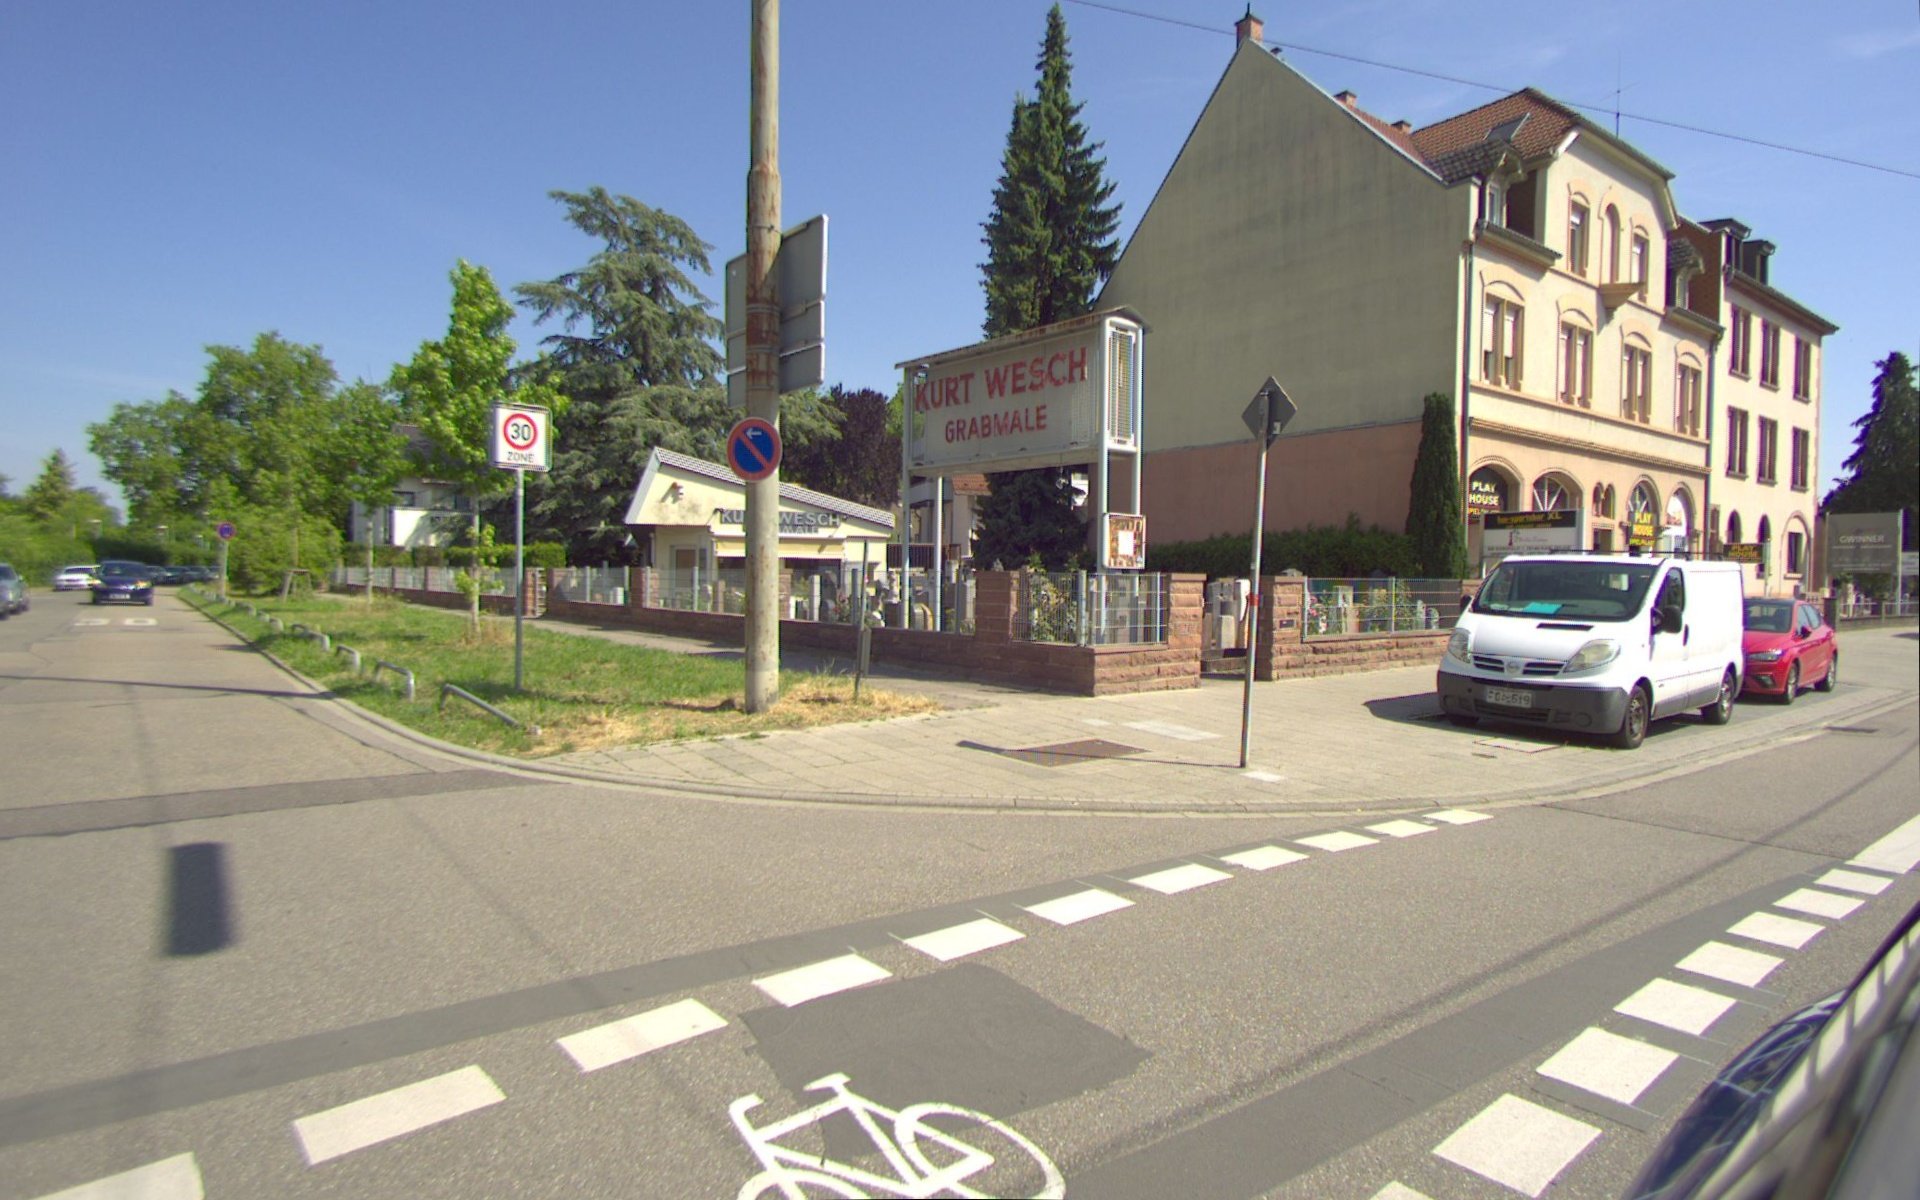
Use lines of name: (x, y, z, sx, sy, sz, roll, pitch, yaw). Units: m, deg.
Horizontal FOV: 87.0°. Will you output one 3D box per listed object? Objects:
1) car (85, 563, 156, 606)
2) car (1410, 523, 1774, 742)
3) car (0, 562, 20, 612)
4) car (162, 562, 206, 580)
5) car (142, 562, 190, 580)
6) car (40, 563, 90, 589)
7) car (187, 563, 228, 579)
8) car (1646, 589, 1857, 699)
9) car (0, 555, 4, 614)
car: (-30.715, -0.596, 36.981, 1.902, 1.467, 3.823, 0, 2, -41)
car: (7.447, 0.258, 11.727, 4.819, 2.039, 2.089, 0, 1, -39)
car: (-27.262, -0.394, 27.955, 1.784, 1.339, 3.823, 0, 2, -41)
car: (-61.454, -2.294, 80.195, 1.777, 1.339, 3.837, 0, 1, -21)
car: (-59.449, -2.164, 75.814, 1.777, 1.339, 3.837, 0, 1, -21)
car: (-52.618, -1.414, 59.555, 1.900, 1.467, 3.827, 0, 2, -37)
car: (-63.161, -2.423, 85.017, 1.777, 1.339, 3.837, 0, 1, -21)
car: (12.096, 0.562, 15.388, 3.930, 1.423, 1.724, -1, 2, -40)
car: (-23.280, -0.350, 23.219, 1.784, 1.421, 3.822, -1, 2, -41)
